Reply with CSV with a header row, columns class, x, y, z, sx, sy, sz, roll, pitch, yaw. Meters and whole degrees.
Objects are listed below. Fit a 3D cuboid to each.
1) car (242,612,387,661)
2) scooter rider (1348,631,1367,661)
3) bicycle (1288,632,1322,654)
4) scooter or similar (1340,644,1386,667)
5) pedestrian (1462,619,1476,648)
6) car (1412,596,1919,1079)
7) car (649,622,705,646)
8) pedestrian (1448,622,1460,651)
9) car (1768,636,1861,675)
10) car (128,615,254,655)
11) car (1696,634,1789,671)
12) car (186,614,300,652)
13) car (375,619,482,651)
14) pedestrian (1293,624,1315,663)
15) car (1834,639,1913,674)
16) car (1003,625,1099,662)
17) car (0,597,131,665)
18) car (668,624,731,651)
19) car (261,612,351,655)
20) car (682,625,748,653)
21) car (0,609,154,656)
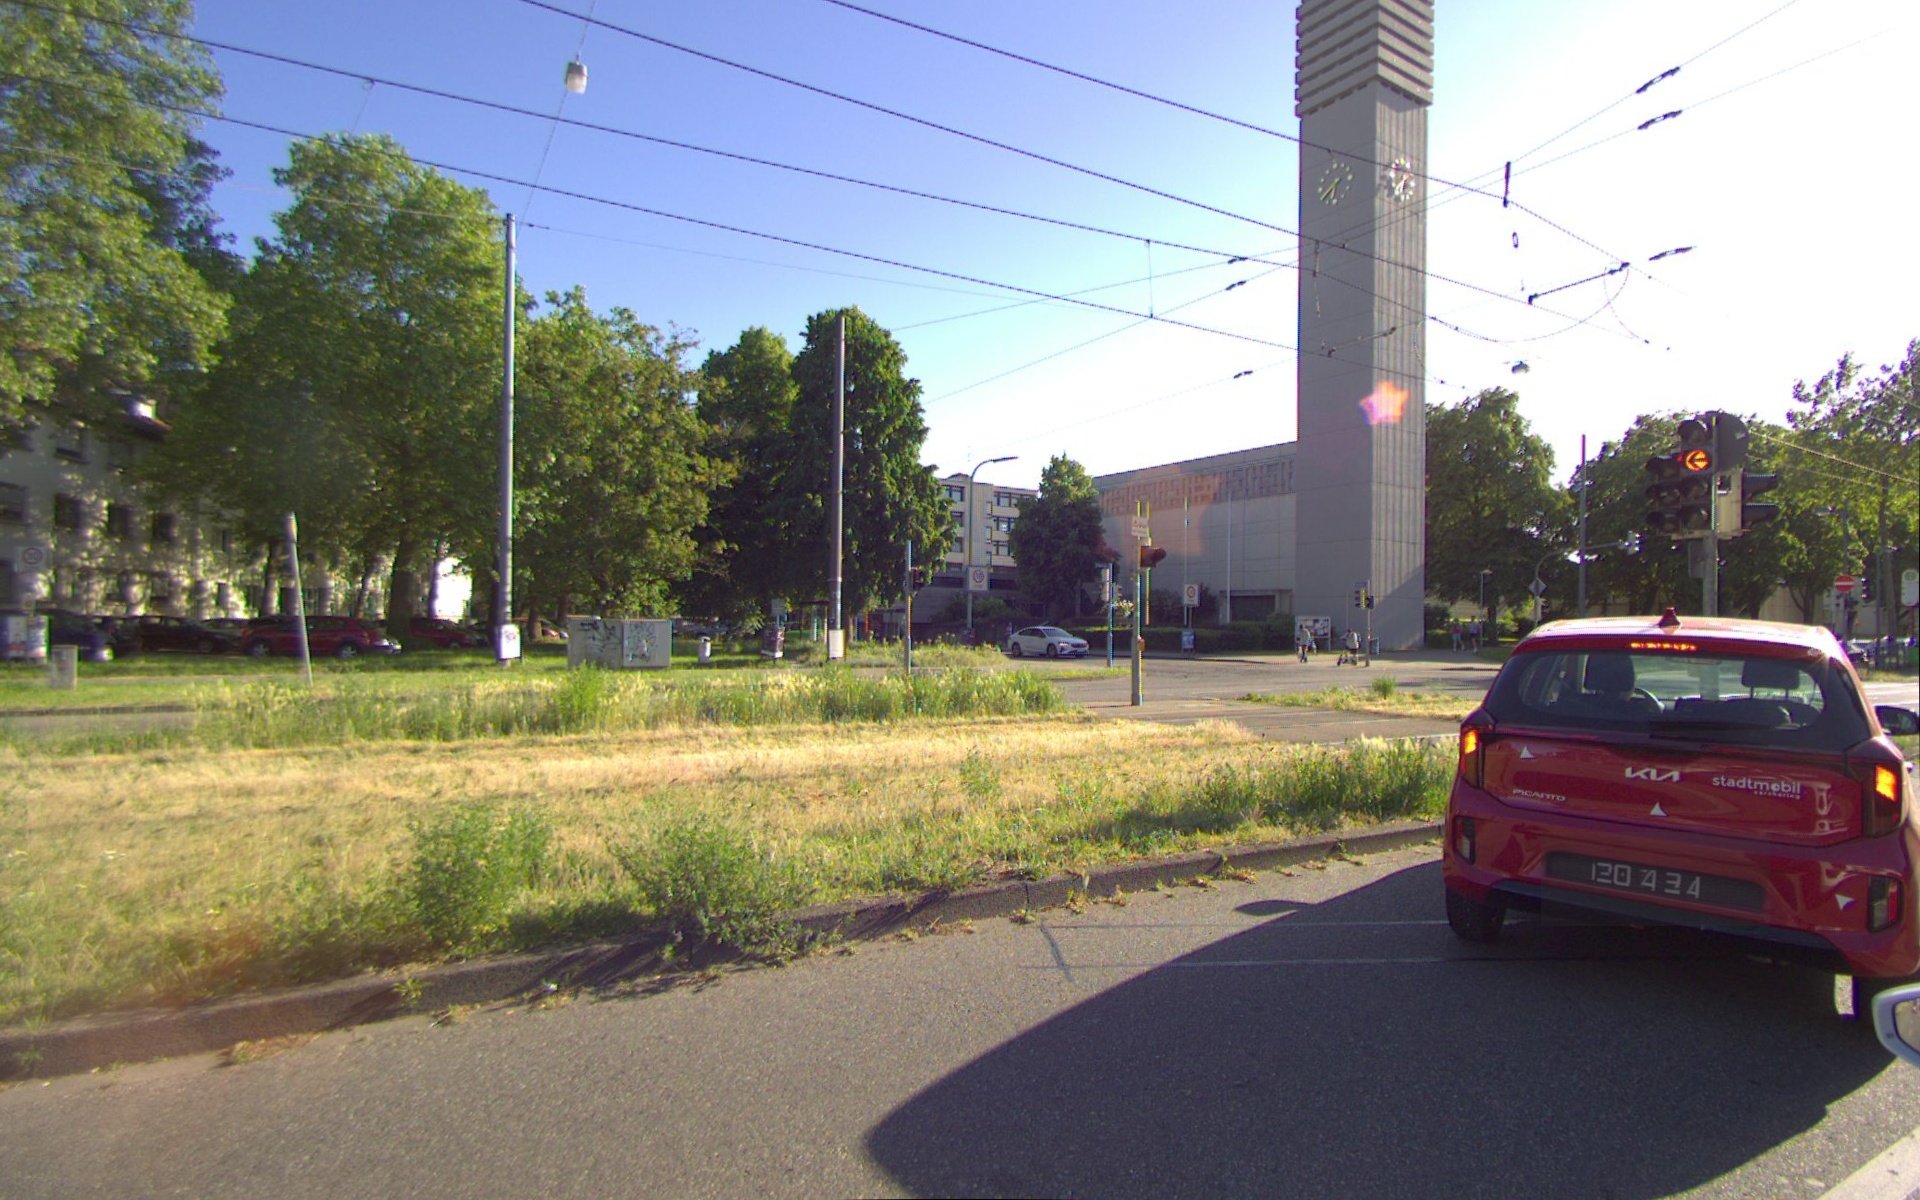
class,x,y,z,sx,sy,sz,roll,pitch,yaw
car,-20.934,1.173,32.716,3.585,1.399,1.641,2,1,-13
scooter rider,16.765,1.938,42.391,0.584,1.234,0.520,1,2,-45
bicycle,17.262,2.150,50.275,1.659,1.060,0.490,2,1,-23
scooter or similar,16.933,2.322,42.223,1.717,0.911,0.560,-1,-2,45
pedestrian,27.205,1.806,53.640,0.483,1.527,0.432,1,1,-34
car,3.742,0.795,5.140,1.674,1.528,3.682,2,1,39
car,-22.194,2.674,78.900,3.953,1.795,1.659,1,-1,-30
pedestrian,26.704,1.974,54.251,0.302,1.581,0.433,1,1,-34
car,36.182,2.310,42.514,4.310,1.553,1.679,2,-1,-31
car,-34.928,1.602,45.743,3.989,1.686,1.997,2,-2,-11
car,34.676,2.292,44.490,4.310,1.553,1.798,2,-2,-31
car,-35.113,1.634,49.307,3.989,1.686,1.997,2,-2,-11
car,-23.636,1.550,44.778,3.932,1.400,1.581,0,-1,-14
pedestrian,15.009,1.891,43.883,0.735,1.689,0.442,2,1,-21
car,41.396,2.530,45.499,3.869,1.421,1.558,2,1,-31
car,4.279,2.055,47.846,1.980,1.420,4.671,1,1,-35
car,-23.314,0.767,25.562,1.719,1.622,3.992,0,-1,-11
car,-18.182,2.618,70.081,3.953,1.795,1.659,1,-1,-30
car,-26.835,1.348,41.342,1.719,1.706,3.992,0,-1,-11
car,-16.215,2.593,66.530,3.953,1.795,1.659,1,-1,-30
car,-33.394,1.271,38.071,3.929,1.635,1.879,2,-3,-11
